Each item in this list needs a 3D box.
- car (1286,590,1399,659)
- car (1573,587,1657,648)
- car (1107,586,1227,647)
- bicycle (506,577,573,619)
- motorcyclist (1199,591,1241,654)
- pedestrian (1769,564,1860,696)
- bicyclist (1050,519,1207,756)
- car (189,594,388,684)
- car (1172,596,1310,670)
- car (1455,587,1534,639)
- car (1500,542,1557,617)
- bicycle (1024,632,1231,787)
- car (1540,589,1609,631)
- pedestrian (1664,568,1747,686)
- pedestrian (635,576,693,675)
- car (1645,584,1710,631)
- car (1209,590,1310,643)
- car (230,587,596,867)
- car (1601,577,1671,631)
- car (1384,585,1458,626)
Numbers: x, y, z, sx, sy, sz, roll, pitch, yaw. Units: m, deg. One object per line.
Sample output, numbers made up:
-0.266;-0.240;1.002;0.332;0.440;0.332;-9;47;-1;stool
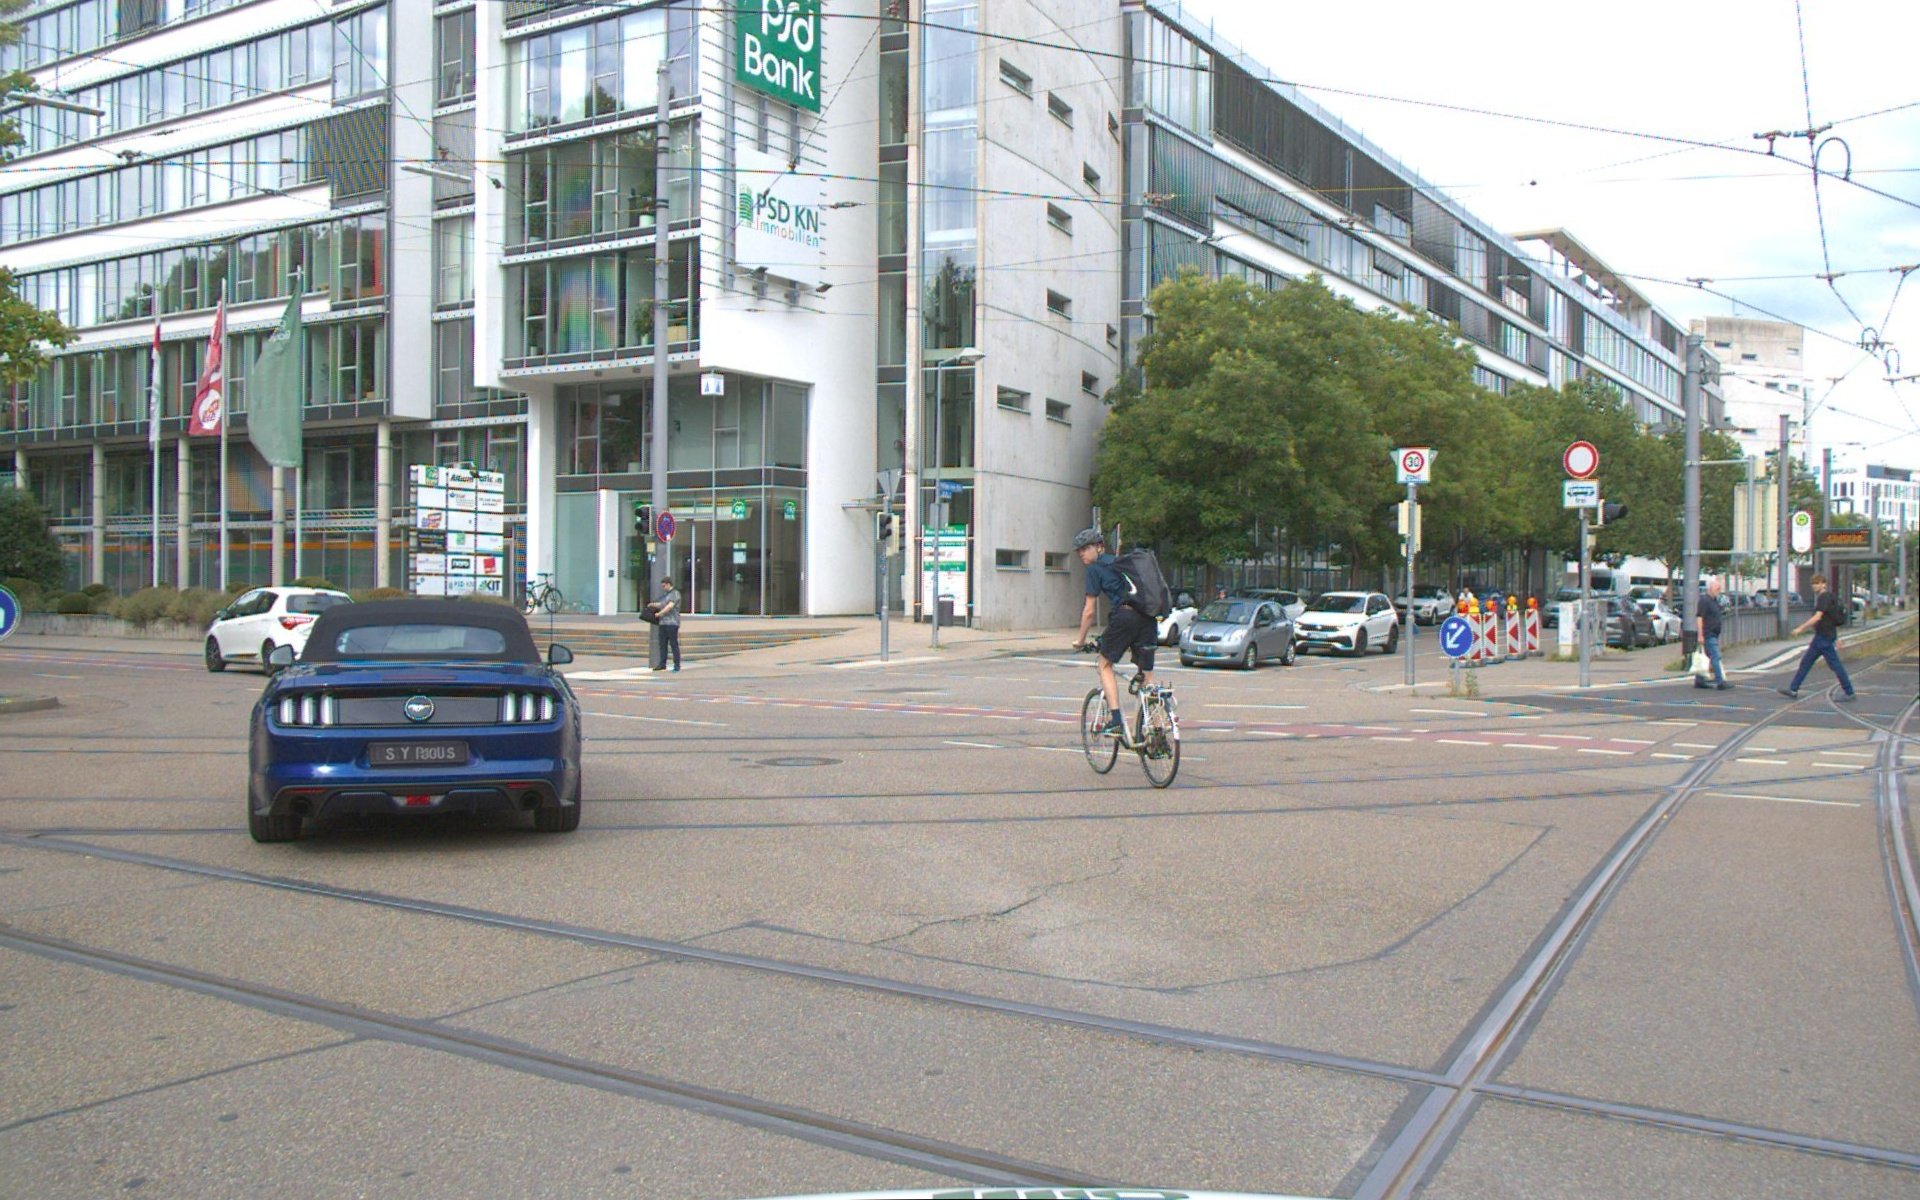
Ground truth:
10.266;0.602;44.184;1.684;1.689;4.123;2;1;31;car
18.749;0.462;47.247;1.843;1.657;4.081;0;0;28;car
5.942;0.435;47.141;1.797;1.583;4.206;2;1;31;car
-12.324;-0.059;48.565;0.573;1.197;2.110;2;0;29;bicycle
6.944;0.579;44.140;0.804;1.645;0.880;1;0;32;motorcyclist
12.796;0.438;24.764;1.068;1.931;0.898;0;0;37;pedestrian
1.351;0.286;13.420;0.785;1.817;1.224;0;0;-23;bicyclist
-11.859;0.632;29.086;1.828;1.464;4.118;0;0;-45;car
6.511;0.699;37.967;1.638;1.533;4.224;2;1;31;car
18.828;0.427;58.191;1.684;1.689;4.123;2;1;31;car
29.259;-1.064;85.047;1.949;3.700;4.505;2;1;29;car
1.315;0.841;13.486;0.789;1.105;2.117;0;0;-22;bicycle
25.412;0.370;68.279;1.869;1.612;4.171;2;1;31;car
12.213;0.427;27.105;0.895;1.888;0.976;0;0;-43;pedestrian
-5.763;0.488;32.190;0.821;1.897;0.762;0;0;40;pedestrian
25.645;0.254;59.044;1.832;1.634;4.207;0;0;28;car
9.713;0.497;53.378;1.797;1.583;4.206;2;1;31;car
-3.480;0.646;10.859;1.846;1.428;4.263;0;0;-16;car
21.265;0.126;51.948;1.672;1.634;4.073;0;0;28;car
19.242;0.194;68.877;1.949;1.583;4.505;2;1;29;car
